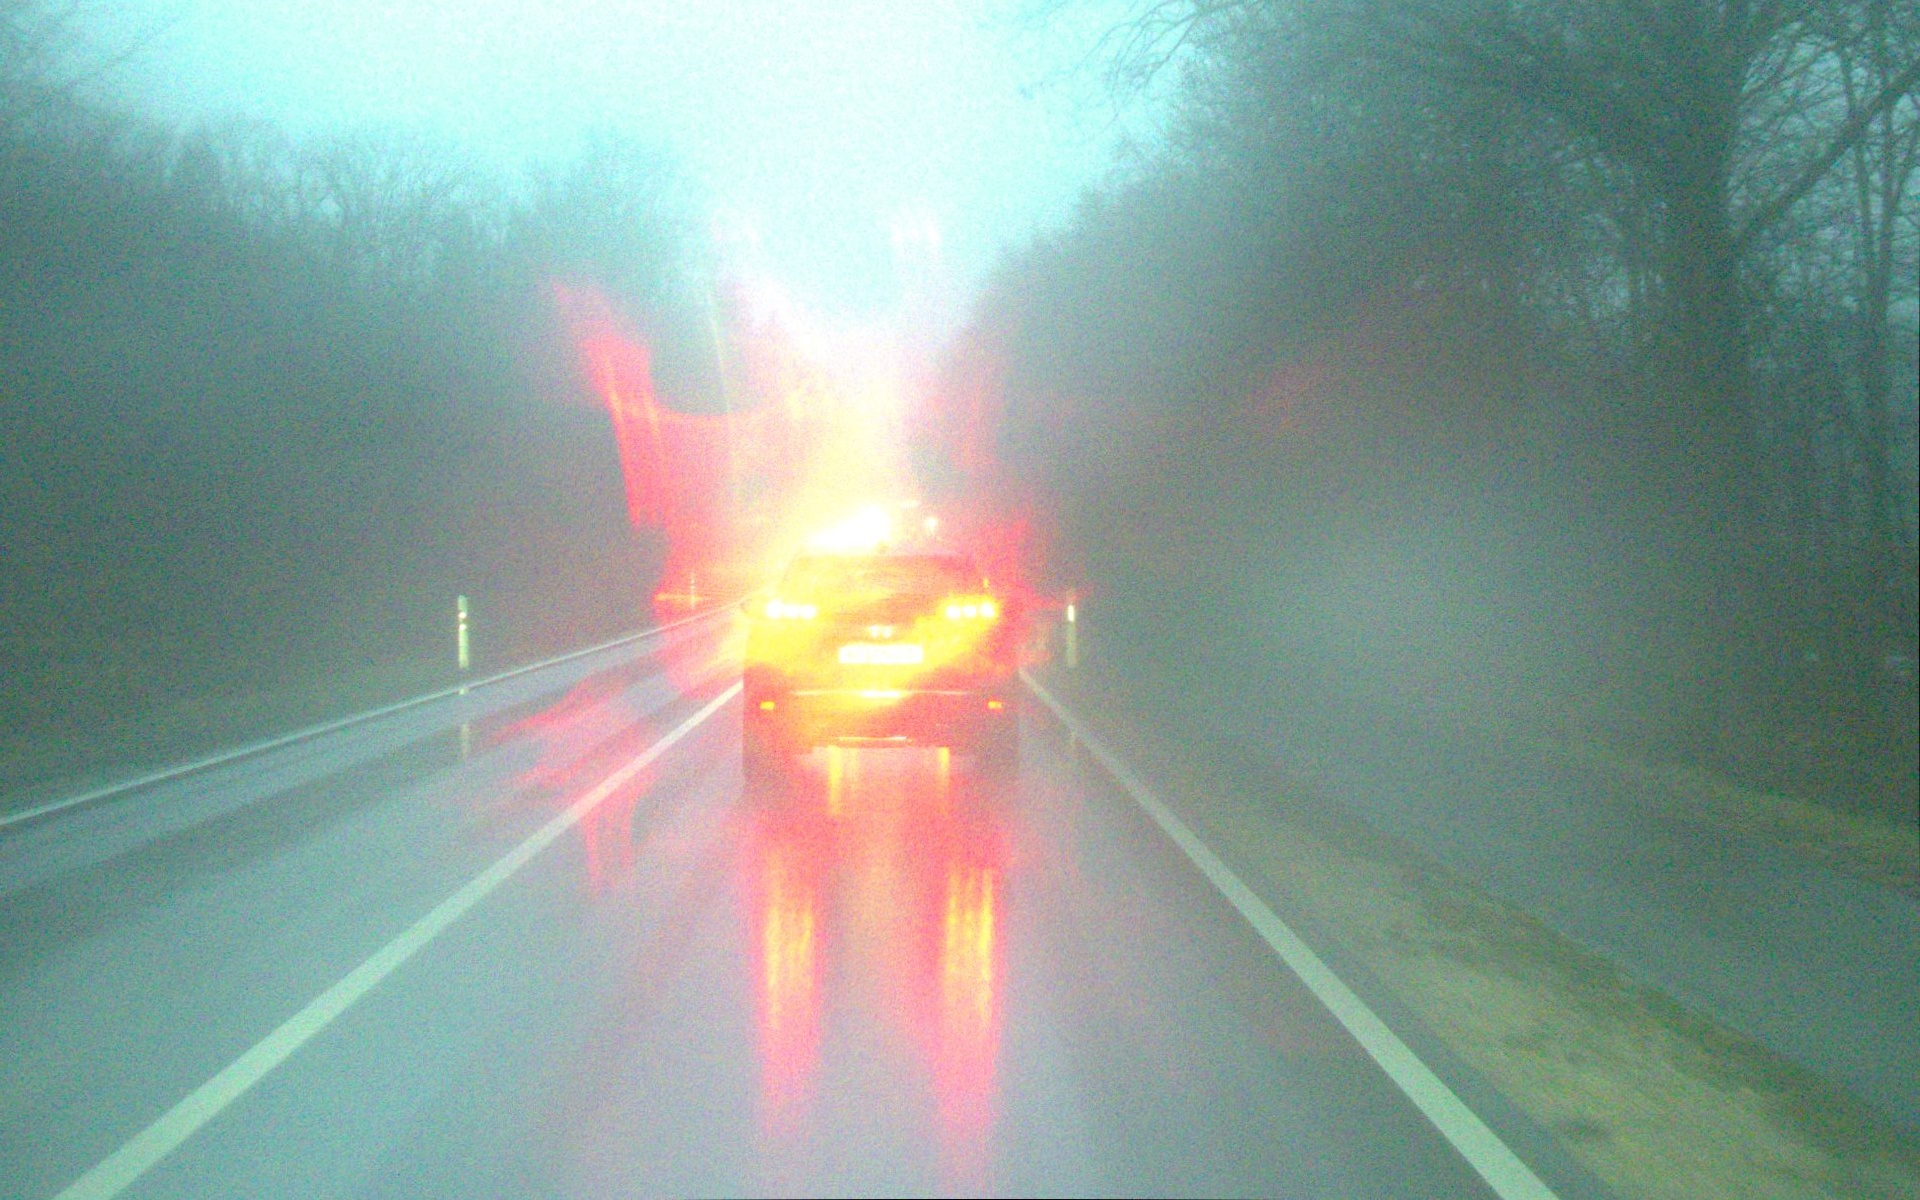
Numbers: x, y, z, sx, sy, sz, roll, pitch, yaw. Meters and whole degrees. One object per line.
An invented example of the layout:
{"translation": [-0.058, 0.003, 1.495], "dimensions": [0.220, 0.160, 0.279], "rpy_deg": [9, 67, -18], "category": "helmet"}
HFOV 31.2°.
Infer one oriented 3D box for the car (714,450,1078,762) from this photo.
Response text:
{"translation": [-0.449, -0.021, 23.427], "dimensions": [2.198, 1.871, 4.827], "rpy_deg": [1, 1, -1], "category": "car"}
